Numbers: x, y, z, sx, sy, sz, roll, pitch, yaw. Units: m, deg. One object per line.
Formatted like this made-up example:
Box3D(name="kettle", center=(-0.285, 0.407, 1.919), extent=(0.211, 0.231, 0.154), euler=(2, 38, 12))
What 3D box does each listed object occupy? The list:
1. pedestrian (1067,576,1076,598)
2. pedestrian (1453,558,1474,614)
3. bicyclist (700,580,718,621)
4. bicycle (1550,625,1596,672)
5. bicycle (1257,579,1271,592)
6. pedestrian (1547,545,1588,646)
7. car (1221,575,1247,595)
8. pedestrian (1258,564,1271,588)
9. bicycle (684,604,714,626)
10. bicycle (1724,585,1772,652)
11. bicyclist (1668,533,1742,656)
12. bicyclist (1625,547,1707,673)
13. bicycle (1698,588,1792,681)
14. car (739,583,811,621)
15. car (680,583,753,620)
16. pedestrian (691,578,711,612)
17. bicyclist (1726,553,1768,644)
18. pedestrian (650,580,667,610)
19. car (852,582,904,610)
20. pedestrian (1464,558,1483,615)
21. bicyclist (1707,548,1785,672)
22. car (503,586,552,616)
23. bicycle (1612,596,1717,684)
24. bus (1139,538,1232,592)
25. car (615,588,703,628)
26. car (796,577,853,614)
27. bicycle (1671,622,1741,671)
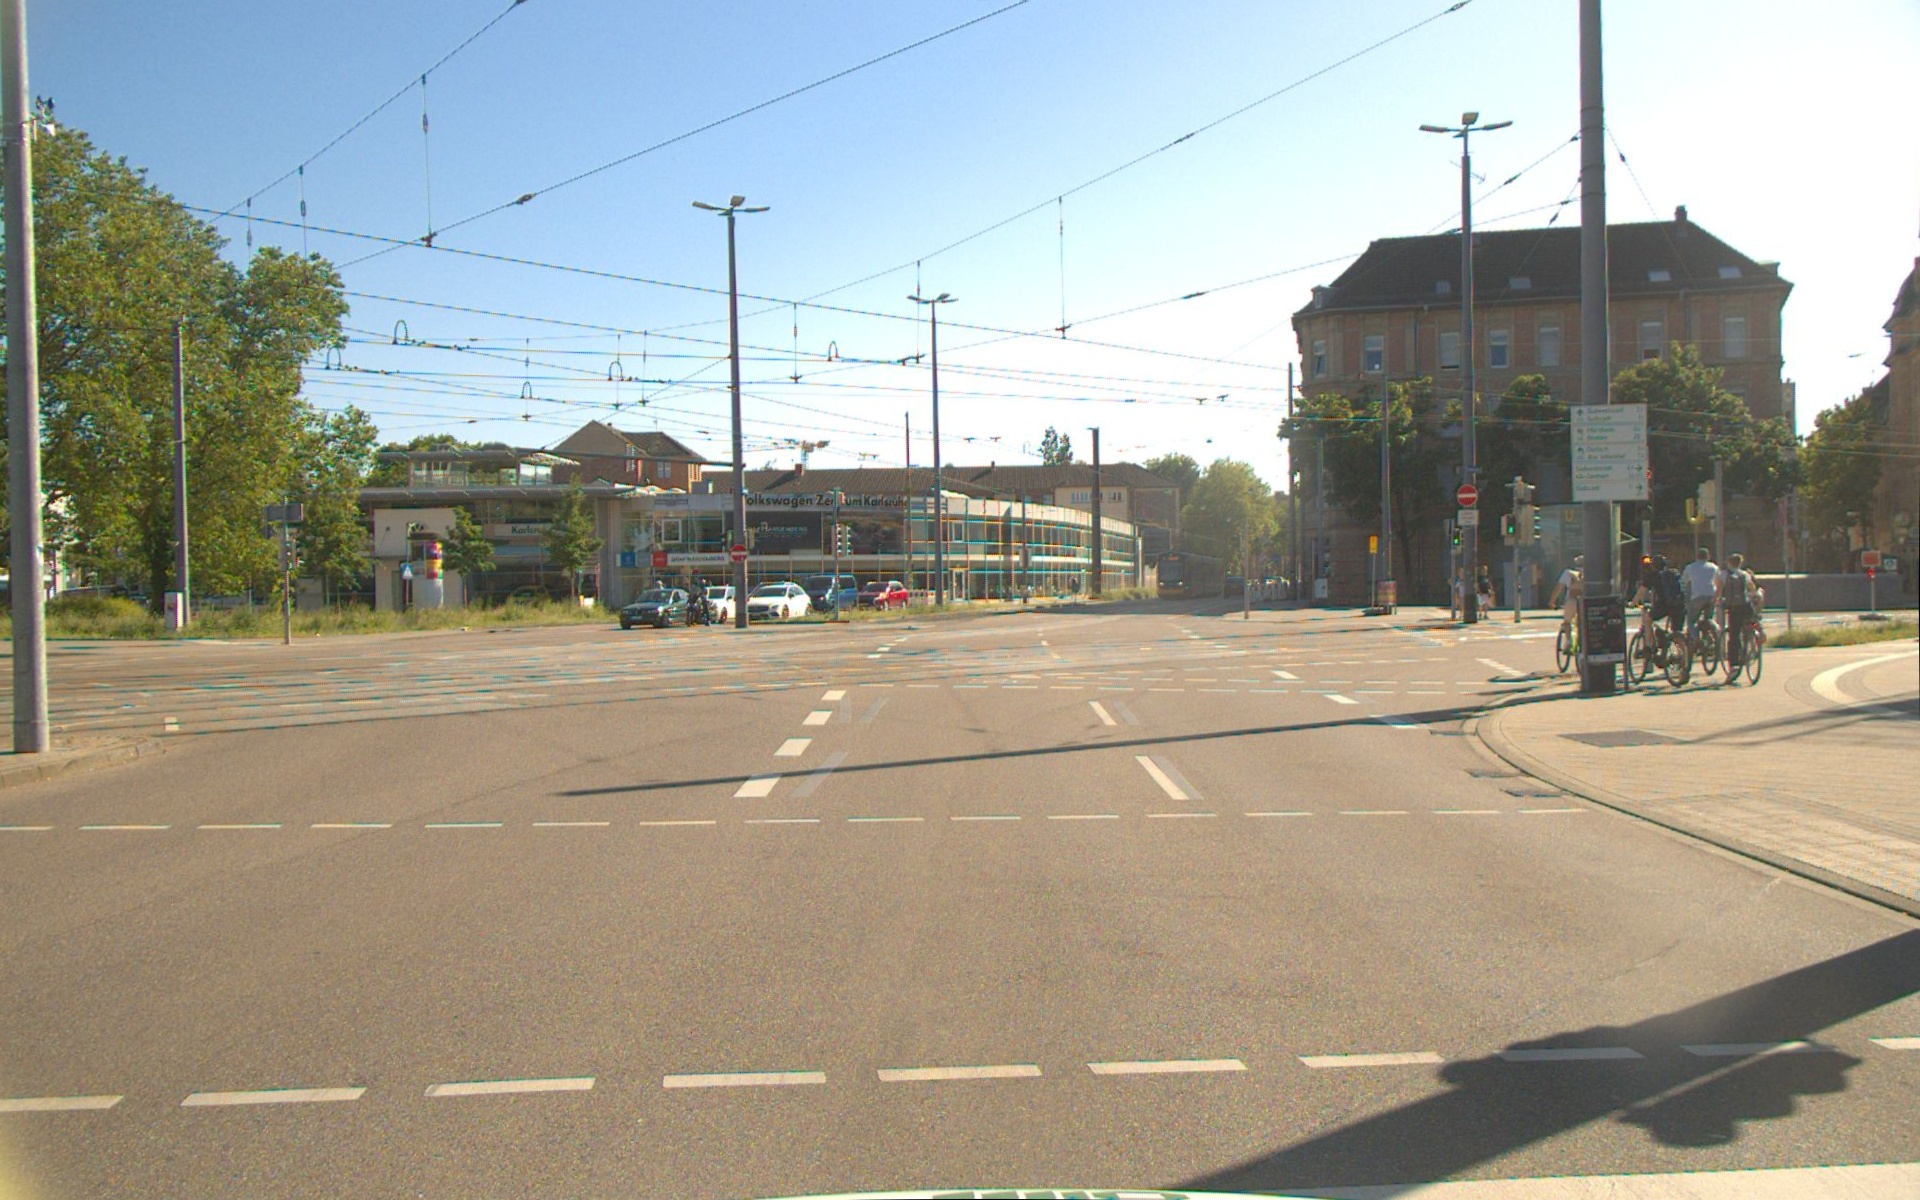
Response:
Box3D(name="pedestrian", center=(8.890, -1.019, 131.324), extent=(0.531, 1.718, 0.630), euler=(-1, 0, 20))
Box3D(name="pedestrian", center=(18.380, -0.517, 60.385), extent=(0.564, 2.049, 0.449), euler=(-1, 1, -19))
Box3D(name="bicyclist", center=(-10.809, 0.016, 71.314), extent=(0.556, 1.743, 0.649), euler=(-1, 0, 11))
Box3D(name="bicycle", center=(9.904, 0.778, 26.755), extent=(0.525, 0.667, 1.727), euler=(-3, 0, 16))
Box3D(name="bicycle", center=(20.754, -1.000, 112.857), extent=(0.727, 0.885, 1.932), euler=(-1, 0, 17))
Box3D(name="pedestrian", center=(9.768, -0.075, 26.598), extent=(0.537, 1.590, 0.859), euler=(-1, 0, 16))
Box3D(name="car", center=(21.826, -1.219, 131.585), extent=(1.663, 1.529, 4.268), euler=(-1, 1, 14))
Box3D(name="pedestrian", center=(20.847, -1.646, 113.313), extent=(0.786, 1.660, 0.718), euler=(-1, 1, 17))
Box3D(name="bicycle", center=(-9.453, 0.539, 60.053), extent=(0.413, 0.730, 1.636), euler=(-1, 1, 16))
Box3D(name="bicycle", center=(14.173, 0.315, 29.773), extent=(0.559, 1.145, 1.741), euler=(-1, 1, 19))
Box3D(name="bicyclist", center=(11.330, -0.088, 25.188), extent=(0.731, 1.809, 0.925), euler=(-2, 0, 6))
Box3D(name="bicyclist", center=(9.765, 0.130, 22.892), extent=(0.612, 1.666, 0.995), euler=(-3, 0, 0))
Box3D(name="bicycle", center=(10.715, 0.445, 22.641), extent=(0.670, 1.184, 1.885), euler=(-2, 0, 11))
Box3D(name="car", center=(-7.233, 0.068, 64.823), extent=(1.591, 1.406, 3.741), euler=(-1, 1, 14))
Box3D(name="car", center=(-9.785, 0.045, 66.666), extent=(1.591, 1.448, 3.689), euler=(-1, 1, 14))
Box3D(name="pedestrian", center=(-9.421, -0.200, 60.234), extent=(0.413, 1.225, 0.750), euler=(-1, 0, 16))
Box3D(name="bicyclist", center=(14.192, -0.032, 29.835), extent=(0.559, 1.596, 0.947), euler=(-1, 0, 19))
Box3D(name="pedestrian", center=(-12.483, -0.206, 68.442), extent=(0.414, 1.225, 0.681), euler=(-1, 0, 18))
Box3D(name="car", center=(-4.243, -0.207, 86.013), extent=(1.591, 1.388, 3.688), euler=(-1, 1, 16))
Box3D(name="pedestrian", center=(18.695, -0.482, 60.208), extent=(0.453, 2.049, 0.449), euler=(-1, 1, -18))
Box3D(name="bicyclist", center=(10.694, 0.133, 22.534), extent=(0.670, 1.626, 0.978), euler=(-2, 0, 11))
Box3D(name="car", center=(-25.973, 0.038, 99.468), extent=(1.926, 1.735, 4.083), euler=(-1, 1, -1))
Box3D(name="bicycle", center=(9.792, 0.535, 23.049), extent=(0.612, 1.133, 1.851), euler=(-4, 0, 0))
Box3D(name="bus", center=(18.251, -2.588, 131.391), extent=(3.755, 3.670, 24.881), euler=(1, 0, 16))
Box3D(name="car", center=(-11.008, 0.260, 60.693), extent=(1.667, 1.378, 3.703), euler=(-1, 1, 16))
Box3D(name="car", center=(-6.421, -0.242, 78.852), extent=(1.591, 1.722, 3.689), euler=(-1, 1, 14))
Box3D(name="bicycle", center=(11.354, 0.694, 25.200), extent=(0.525, 0.667, 1.469), euler=(-2, 1, 6))
